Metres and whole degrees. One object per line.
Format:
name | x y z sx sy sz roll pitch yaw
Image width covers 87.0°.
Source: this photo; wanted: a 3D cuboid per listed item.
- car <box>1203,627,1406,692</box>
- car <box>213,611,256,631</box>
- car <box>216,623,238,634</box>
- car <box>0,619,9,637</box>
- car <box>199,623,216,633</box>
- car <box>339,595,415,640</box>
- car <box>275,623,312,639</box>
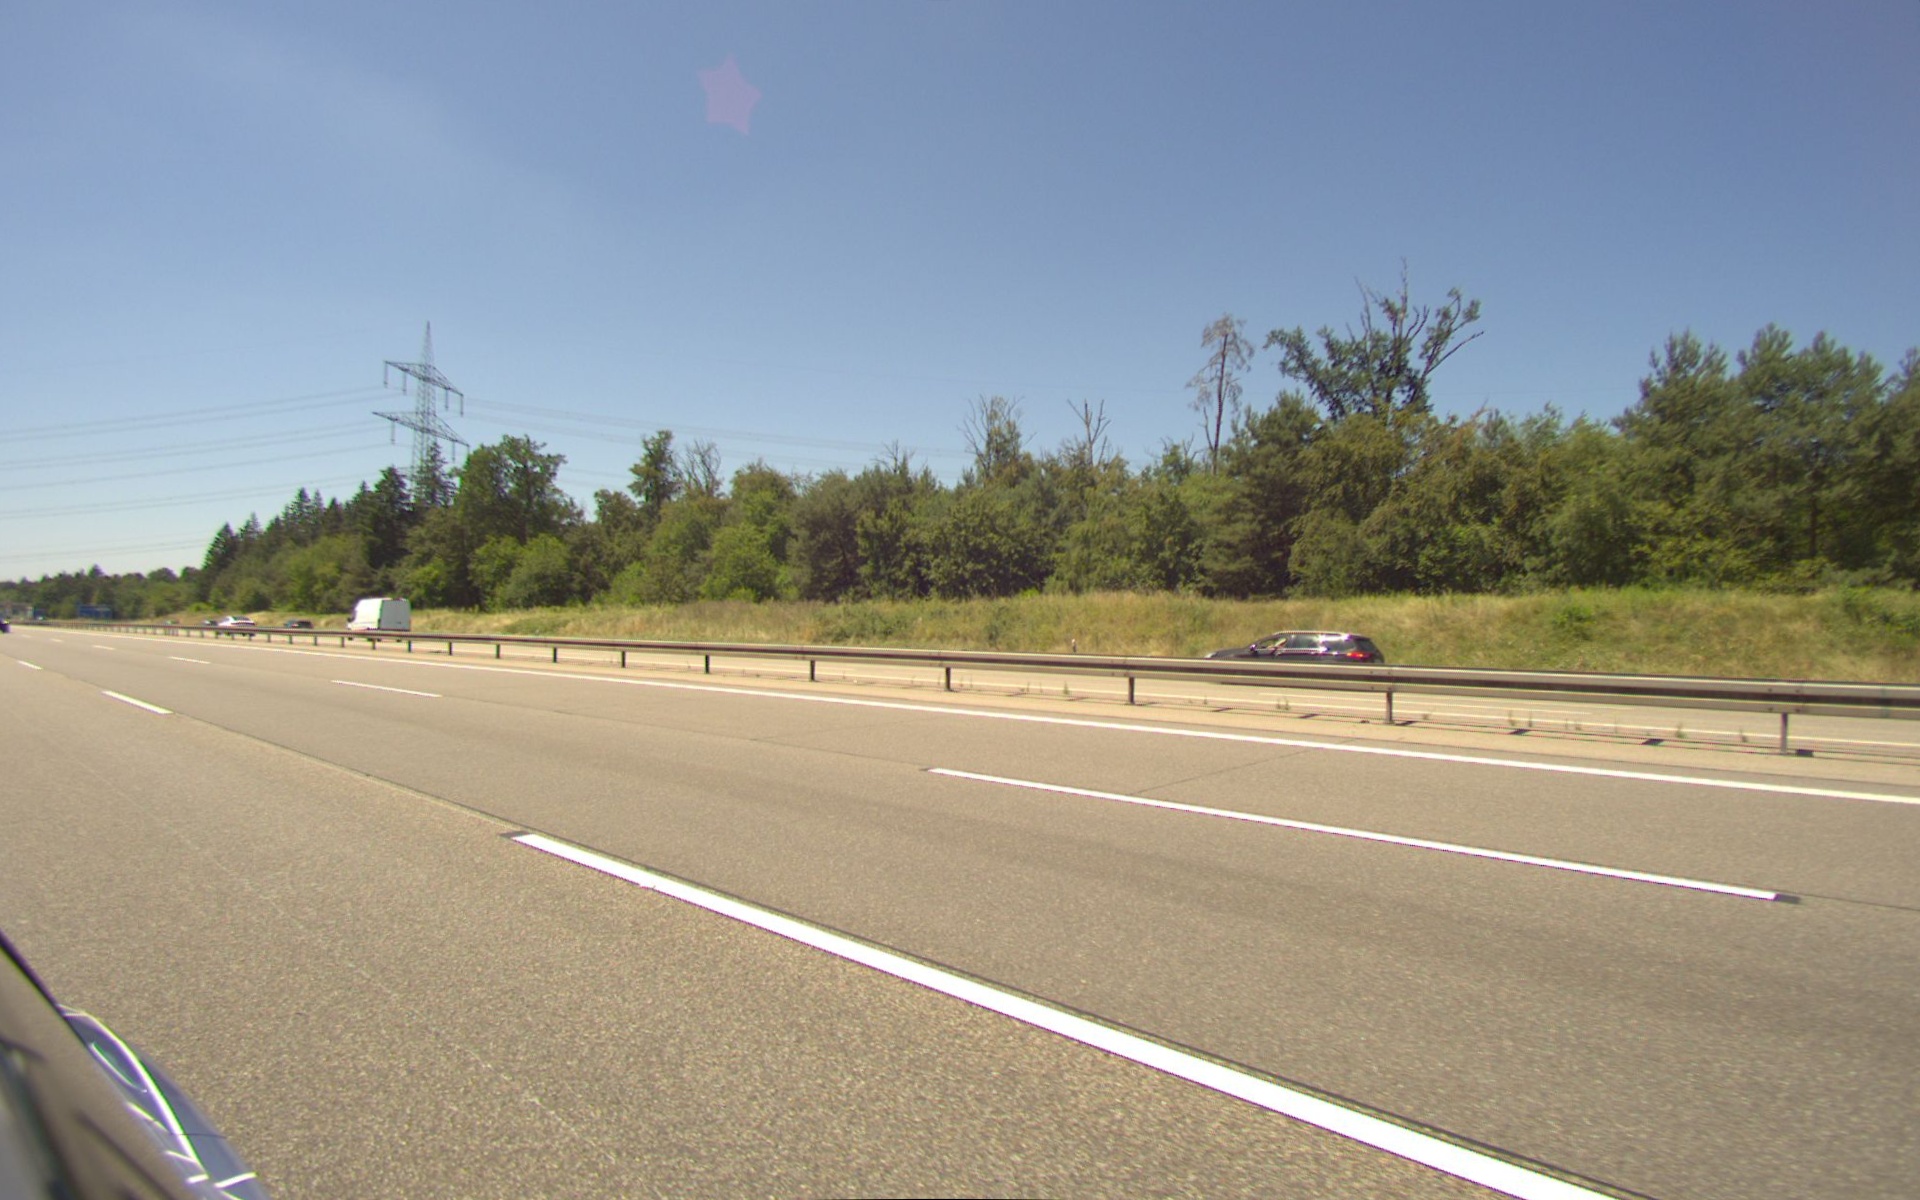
car | 8.966 1.504 26.612 4.742 1.521 1.807 -1 -2 42
car | -54.929 1.574 76.572 4.675 1.402 1.673 -1 -4 43
car | -105.382 4.104 145.499 4.437 1.431 1.769 -1 -1 44
car | -76.883 2.228 80.380 4.263 1.436 1.872 -1 -1 45
car | -122.095 4.550 164.146 4.000 1.539 1.542 -1 0 43
car | -38.168 1.166 66.149 6.873 2.732 2.317 -1 -4 43
car | -60.543 2.819 91.945 4.675 1.402 1.673 -1 -4 43
